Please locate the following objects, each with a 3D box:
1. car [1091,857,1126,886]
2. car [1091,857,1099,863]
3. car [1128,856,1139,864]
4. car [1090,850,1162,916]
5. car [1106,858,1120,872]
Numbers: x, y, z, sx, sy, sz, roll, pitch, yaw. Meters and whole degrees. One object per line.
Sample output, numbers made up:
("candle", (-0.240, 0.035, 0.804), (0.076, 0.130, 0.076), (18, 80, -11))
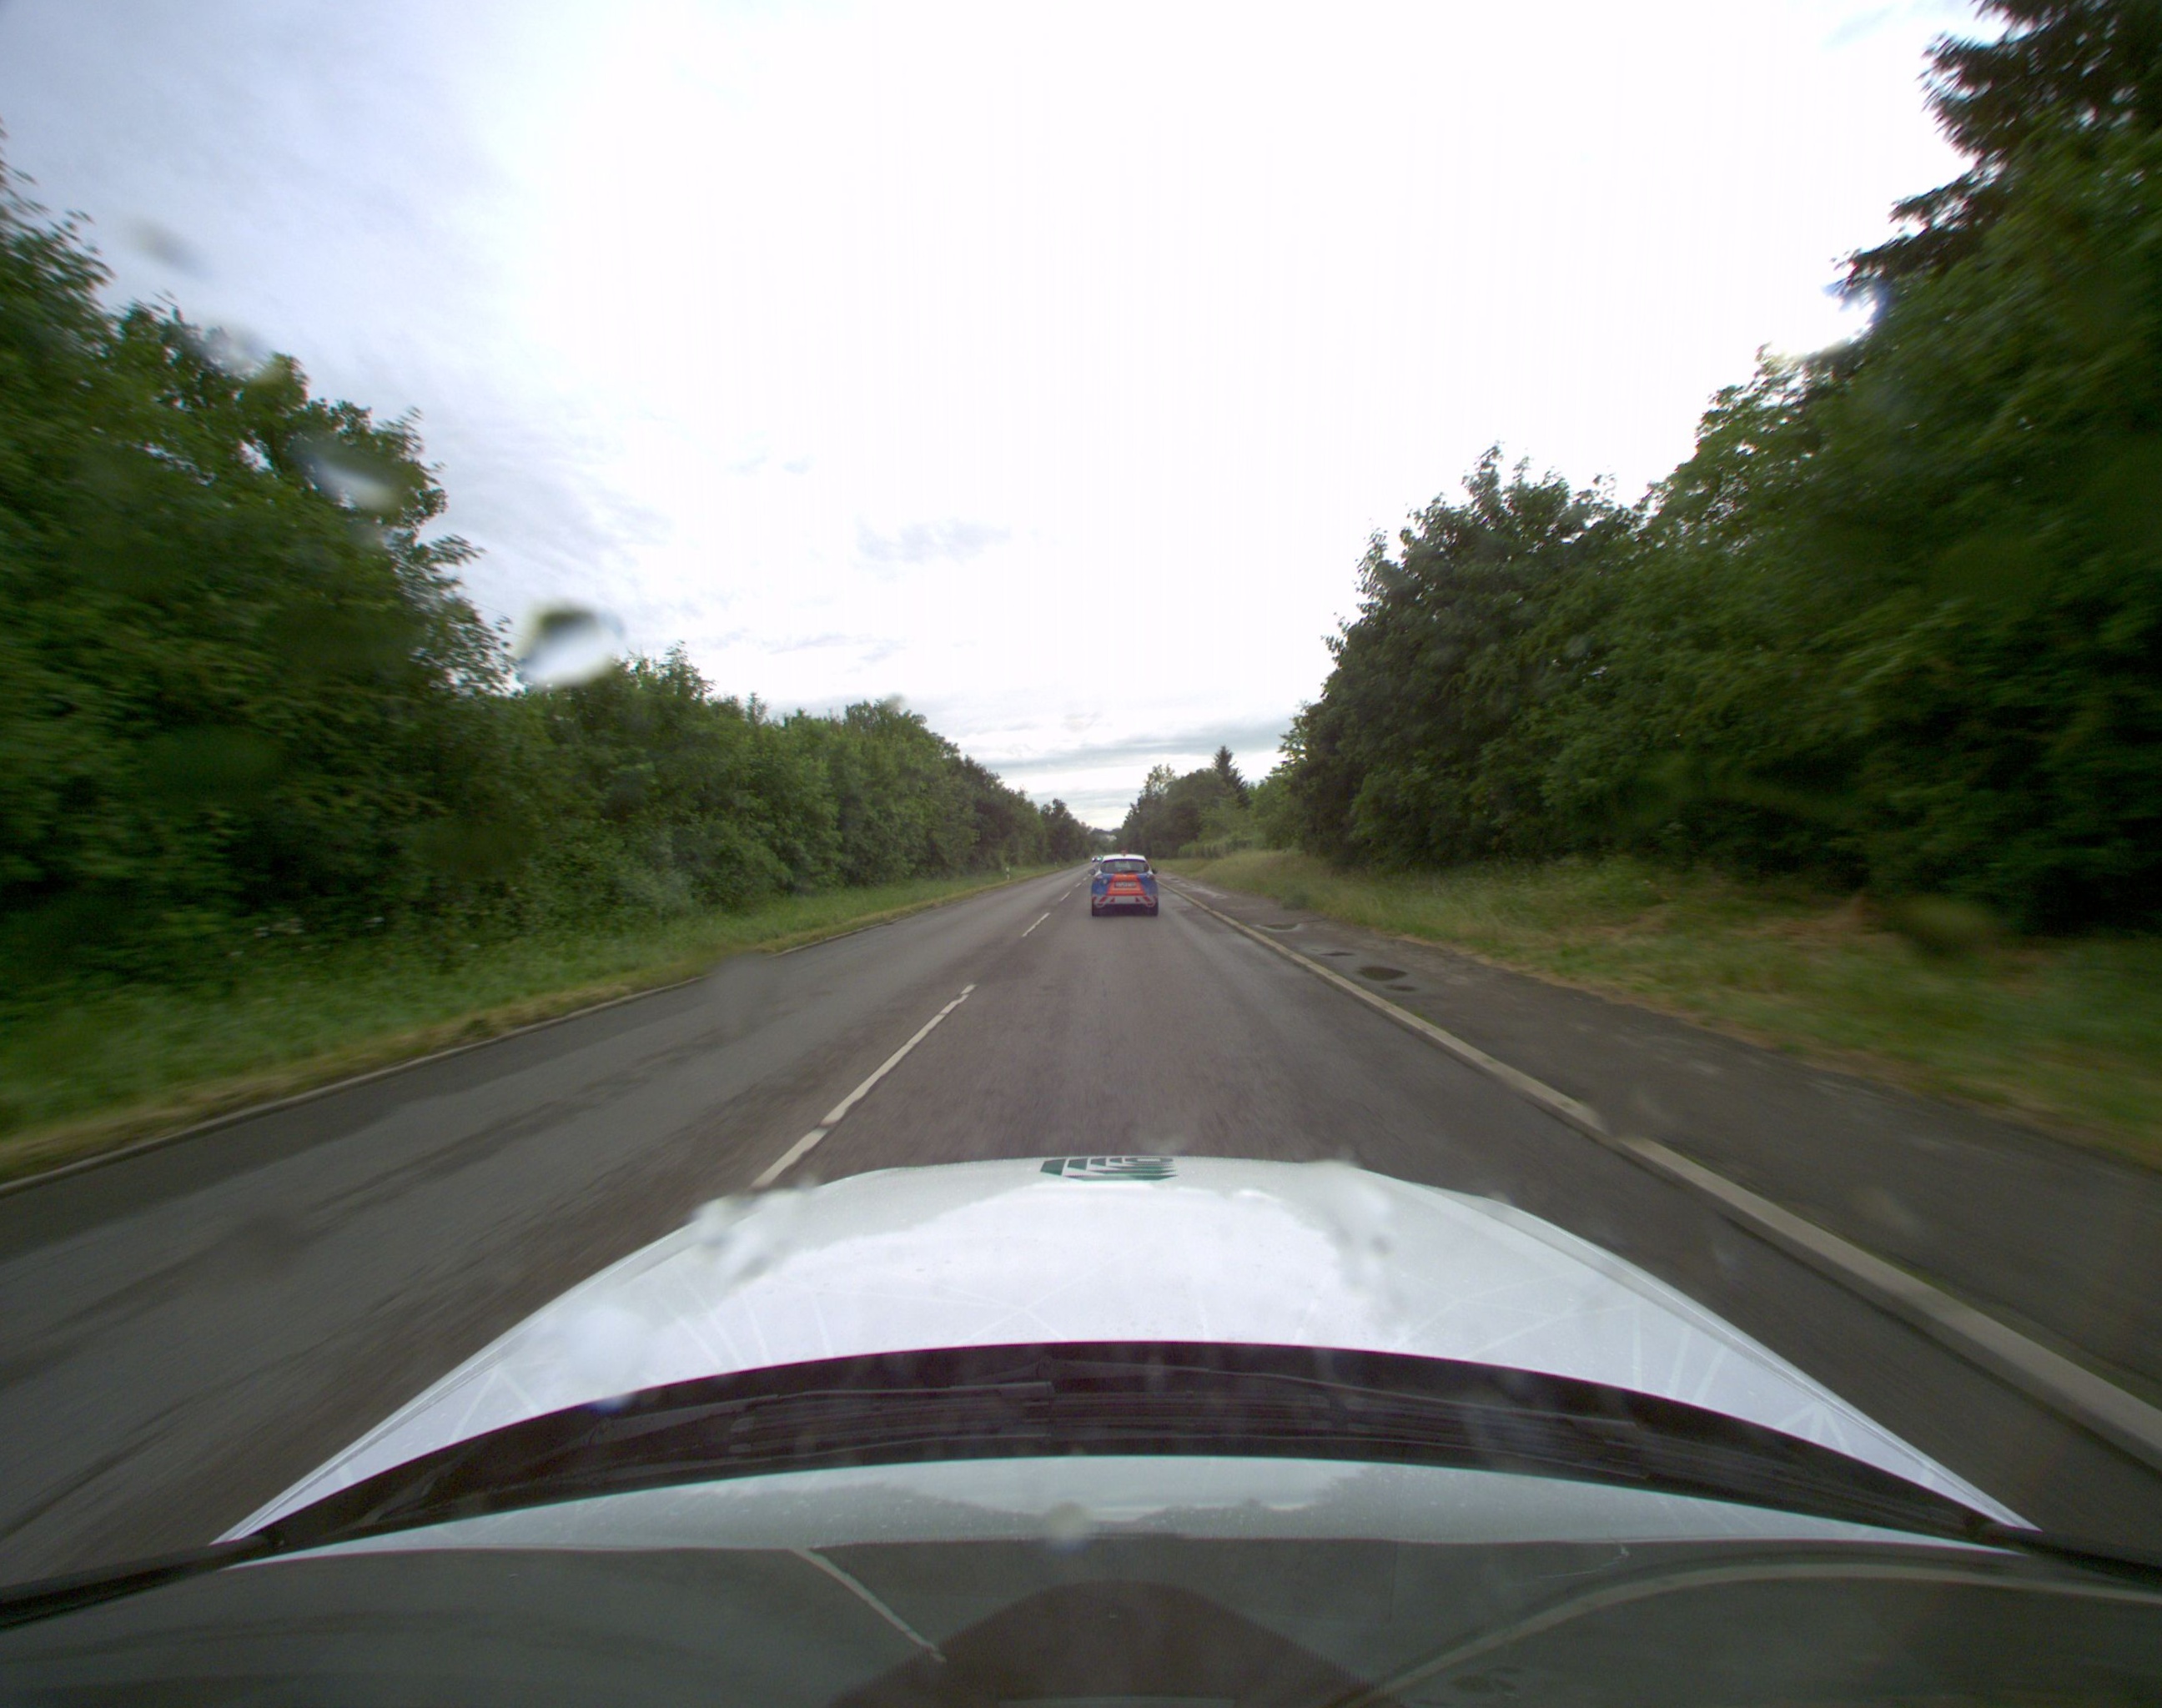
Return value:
("car", (1.398, 0.848, 40.119), (1.592, 1.287, 3.478), (-3, 0, 3))
("car", (3.684, 1.512, 207.035), (1.898, 1.556, 4.518), (-3, 0, 2))
("car", (10.313, 1.164, 159.552), (1.985, 1.376, 4.003), (-3, 0, 3))
("car", (1.161, 0.702, 21.856), (1.745, 1.555, 3.794), (-1, 1, 2))
("car", (4.156, 1.460, 105.836), (1.782, 1.720, 4.002), (-3, 0, 2))
